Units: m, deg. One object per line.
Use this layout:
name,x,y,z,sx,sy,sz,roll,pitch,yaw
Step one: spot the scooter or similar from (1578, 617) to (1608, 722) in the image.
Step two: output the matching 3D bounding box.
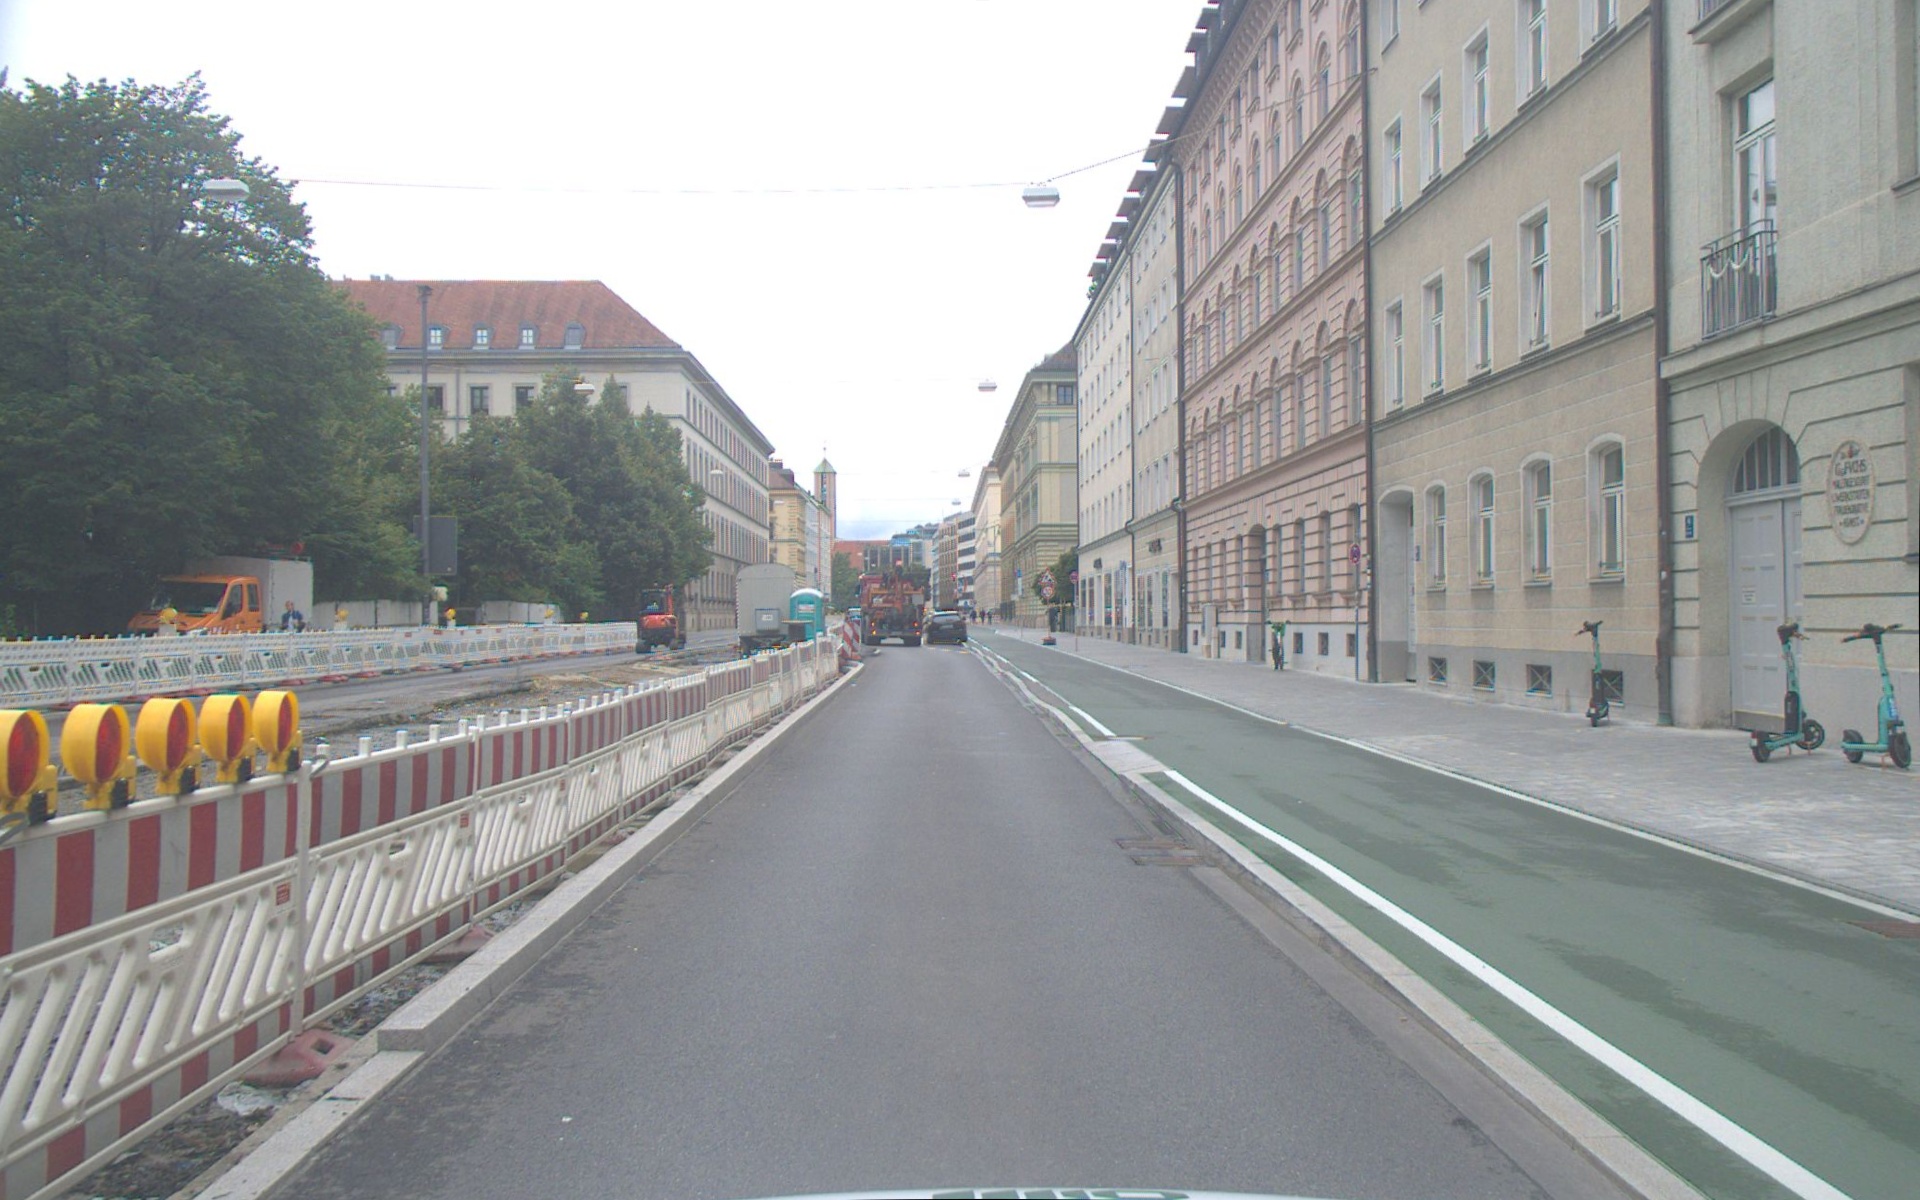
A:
scooter or similar,7.867,0.850,20.536,0.241,1.252,1.119,-3,-1,24

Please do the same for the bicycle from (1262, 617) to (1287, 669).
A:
bicycle,7.426,1.003,38.970,0.417,1.195,1.732,-1,-1,15

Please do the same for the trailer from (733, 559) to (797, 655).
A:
trailer,-7.132,0.277,60.905,2.184,3.300,7.509,0,-1,-6

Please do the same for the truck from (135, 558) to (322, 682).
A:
truck,-17.554,0.471,40.072,1.953,2.776,5.869,0,0,-1

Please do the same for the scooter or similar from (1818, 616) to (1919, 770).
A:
scooter or similar,8.106,0.801,14.613,0.379,1.295,1.119,-2,-1,-2

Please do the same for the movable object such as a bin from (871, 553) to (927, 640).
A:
movable object such as a bin,-2.712,-0.124,73.308,2.375,3.675,5.848,0,-1,-2

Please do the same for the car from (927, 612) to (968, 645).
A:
car,-0.626,1.336,78.267,1.765,1.506,4.684,-1,-1,-2

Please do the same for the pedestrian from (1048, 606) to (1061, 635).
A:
pedestrian,6.169,1.339,108.178,0.774,1.868,0.777,0,-1,0

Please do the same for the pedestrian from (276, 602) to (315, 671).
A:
pedestrian,-16.052,0.875,39.951,0.649,1.631,0.698,1,-1,0

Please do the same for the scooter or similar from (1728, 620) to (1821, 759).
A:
scooter or similar,7.697,0.830,15.624,1.106,1.252,0.244,-1,-2,-35

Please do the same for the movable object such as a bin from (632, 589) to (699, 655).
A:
movable object such as a bin,-12.055,0.890,67.974,1.884,2.617,4.492,1,0,0
